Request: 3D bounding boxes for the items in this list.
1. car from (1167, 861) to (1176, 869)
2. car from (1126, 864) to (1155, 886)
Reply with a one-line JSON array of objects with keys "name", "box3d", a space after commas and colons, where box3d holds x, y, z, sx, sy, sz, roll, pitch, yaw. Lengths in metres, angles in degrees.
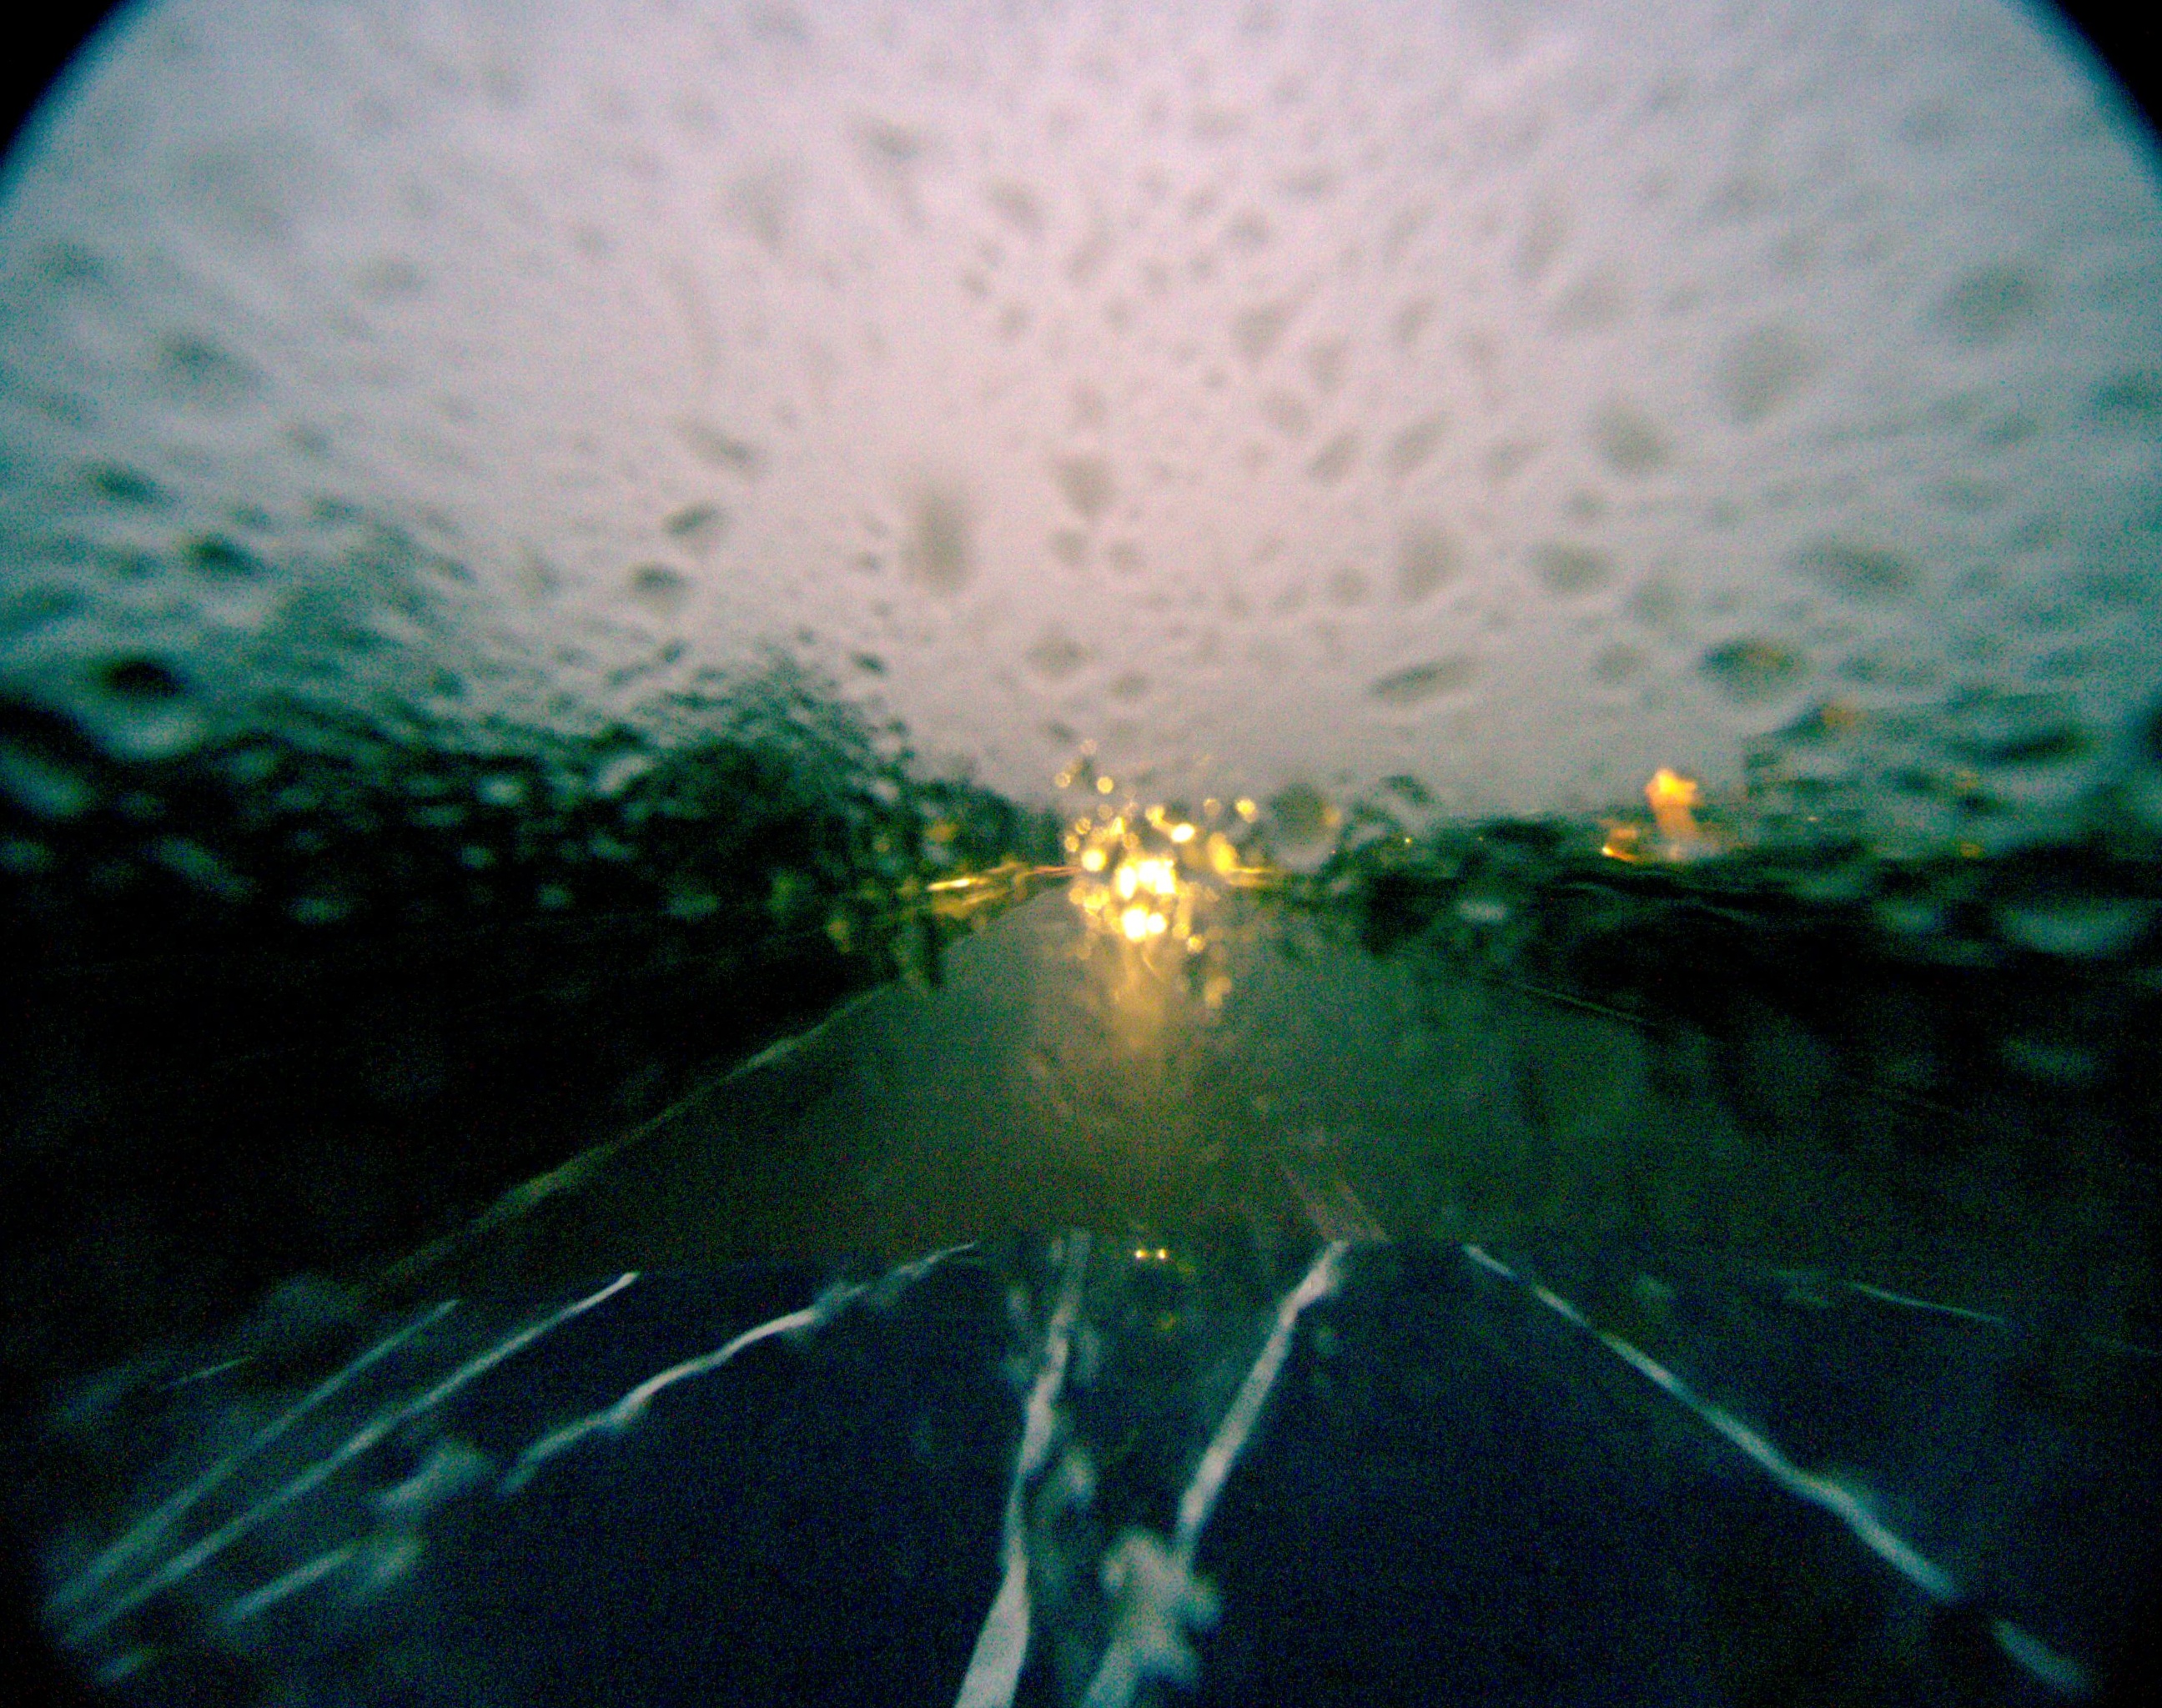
[{"name": "car", "box3d": [21.689, 2.616, 182.255, 1.997, 1.838, 3.674, -2, 0, 6]}, {"name": "car", "box3d": [4.278, 1.494, 55.267, 1.886, 1.513, 4.001, -2, 0, 2]}]
